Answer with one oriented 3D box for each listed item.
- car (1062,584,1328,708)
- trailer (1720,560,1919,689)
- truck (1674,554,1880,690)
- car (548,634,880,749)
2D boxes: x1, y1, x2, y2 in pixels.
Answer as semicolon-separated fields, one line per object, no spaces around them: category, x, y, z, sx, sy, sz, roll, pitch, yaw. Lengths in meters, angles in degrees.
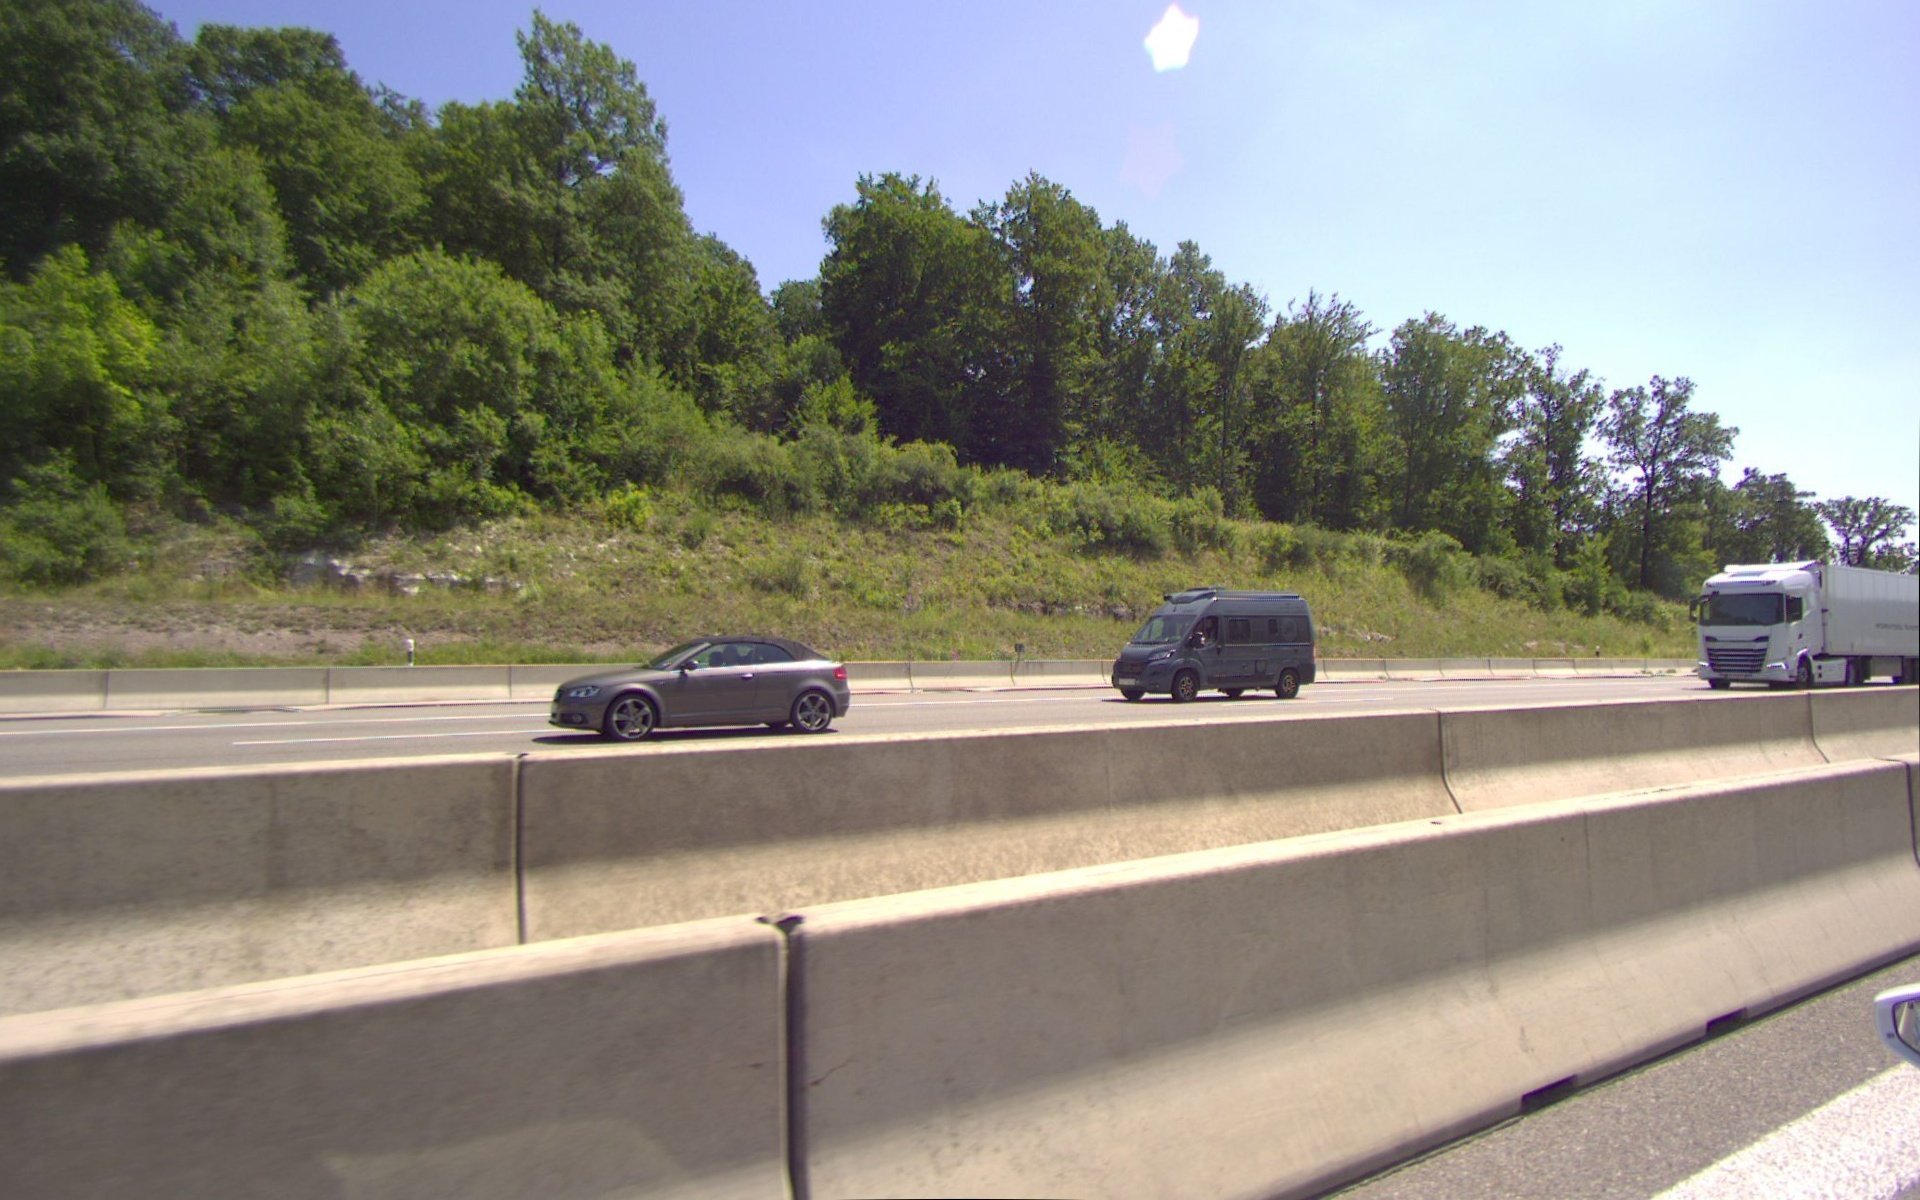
car;5.827;1.127;24.490;6.700;2.698;2.131;2;-3;-31
trailer;32.939;1.012;37.230;13.685;4.138;2.910;2;-2;-32
truck;27.397;0.791;33.588;7.699;4.122;2.881;2;-2;-31
car;-3.485;1.232;14.505;4.388;1.426;1.659;2;-2;-31
